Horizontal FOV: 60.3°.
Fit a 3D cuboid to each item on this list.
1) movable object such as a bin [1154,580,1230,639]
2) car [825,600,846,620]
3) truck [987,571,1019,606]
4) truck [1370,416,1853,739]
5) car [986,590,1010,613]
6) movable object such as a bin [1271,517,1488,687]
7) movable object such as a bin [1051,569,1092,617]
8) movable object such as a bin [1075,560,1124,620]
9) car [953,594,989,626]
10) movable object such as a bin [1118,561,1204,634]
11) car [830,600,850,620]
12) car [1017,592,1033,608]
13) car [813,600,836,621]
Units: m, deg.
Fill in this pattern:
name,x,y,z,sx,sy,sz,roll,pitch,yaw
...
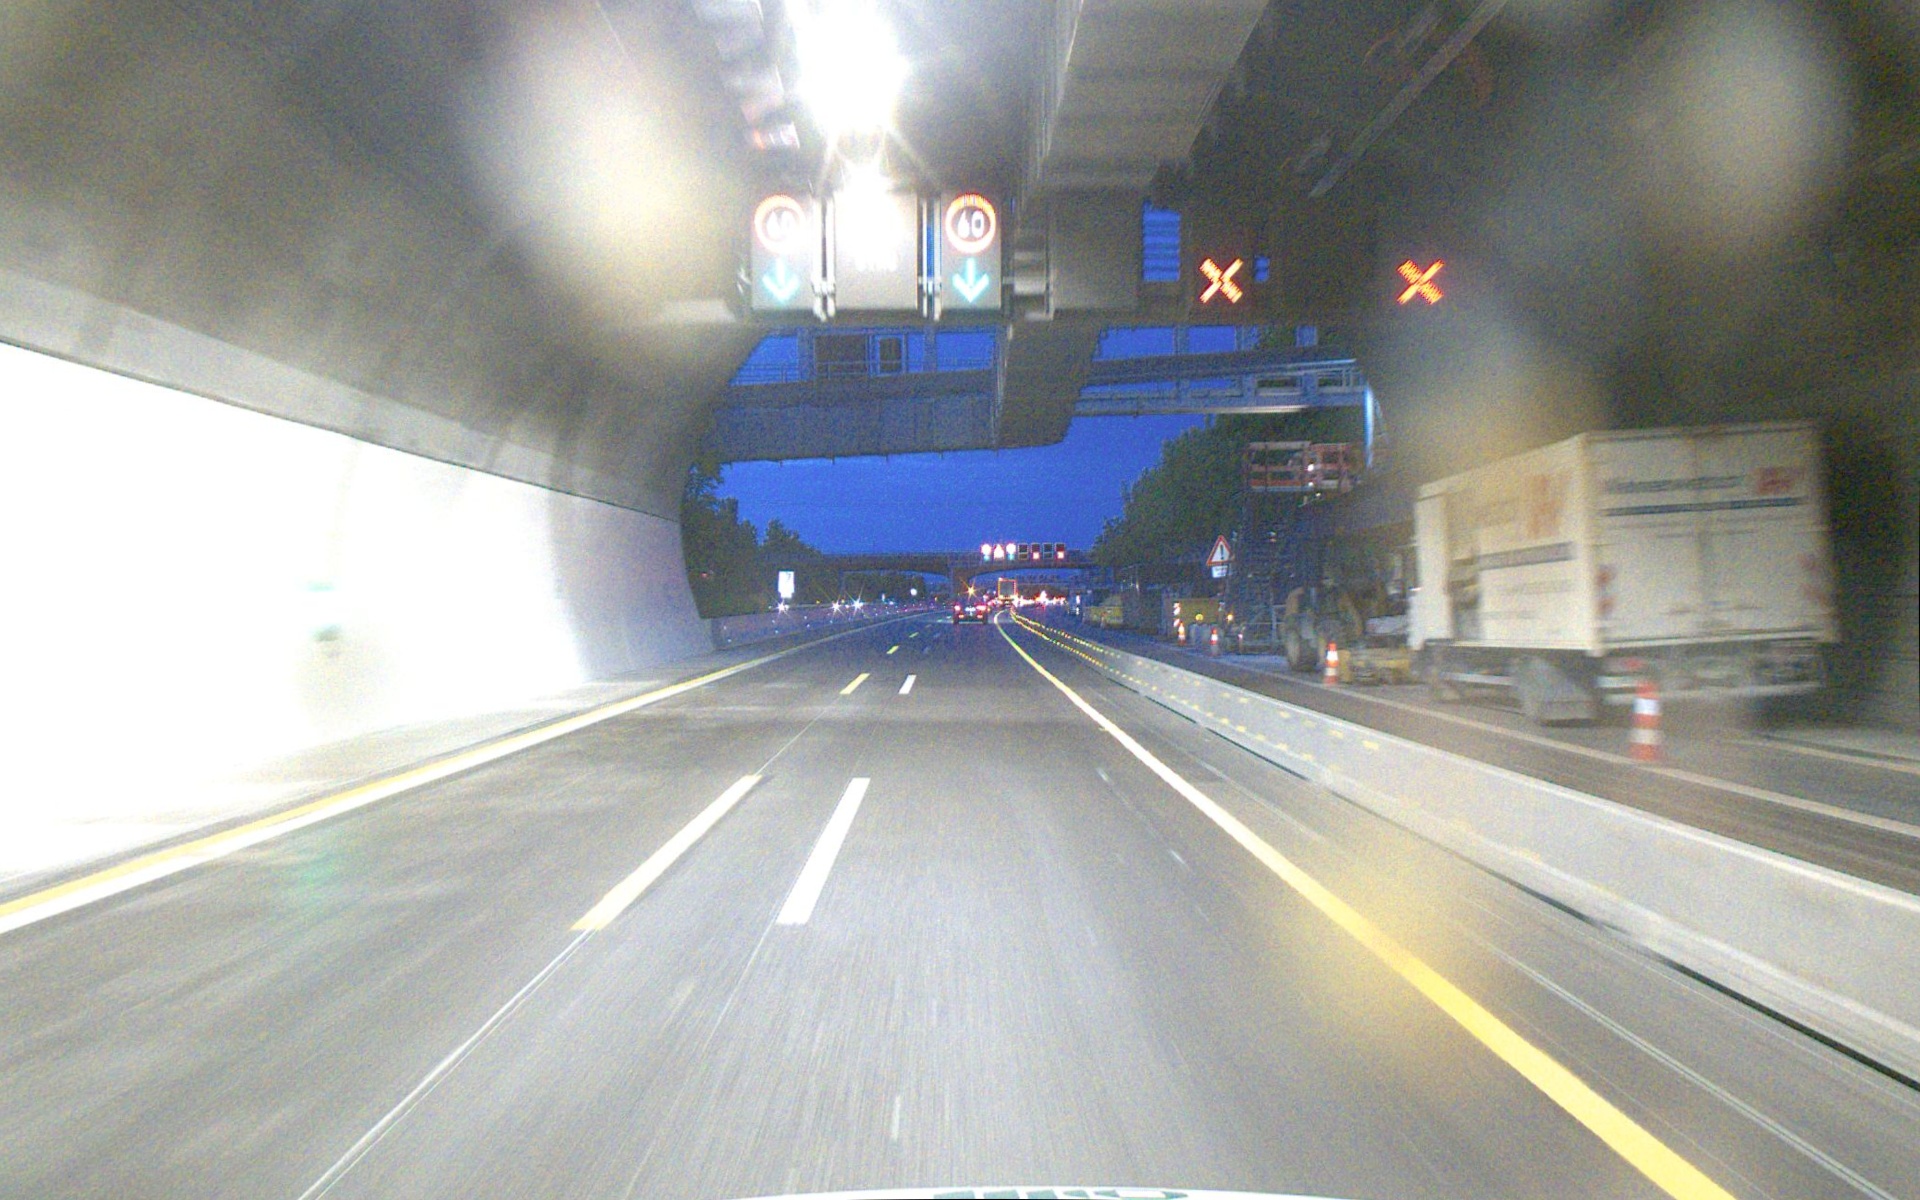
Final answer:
name,x,y,z,sx,sy,sz,roll,pitch,yaw
movable object such as a bin,7.580,0.314,54.329,1.938,1.847,3.836,0,0,-1
car,-12.917,1.055,171.475,1.953,2.049,3.999,0,0,-1
truck,6.238,-1.682,243.100,4.452,5.074,9.599,0,0,0
truck,7.785,-0.220,21.319,2.833,3.329,8.399,0,0,-1
car,3.463,0.127,149.261,1.951,2.049,4.002,0,0,4
movable object such as a bin,7.717,0.050,31.358,2.192,2.843,7.231,0,0,-1
movable object such as a bin,8.452,-0.510,125.489,2.681,3.516,6.946,0,0,0
movable object such as a bin,8.949,-0.592,106.445,2.681,3.743,6.333,0,0,0
car,0.581,0.522,88.011,1.849,1.635,3.999,0,0,-1
movable object such as a bin,8.046,-0.076,67.039,2.681,2.802,7.049,0,0,0
car,-12.903,1.075,178.399,1.953,2.049,3.999,0,0,-1
car,8.453,0.048,214.577,1.952,2.049,4.000,0,0,0
car,-13.212,1.025,161.376,1.953,2.049,3.999,0,0,-1
